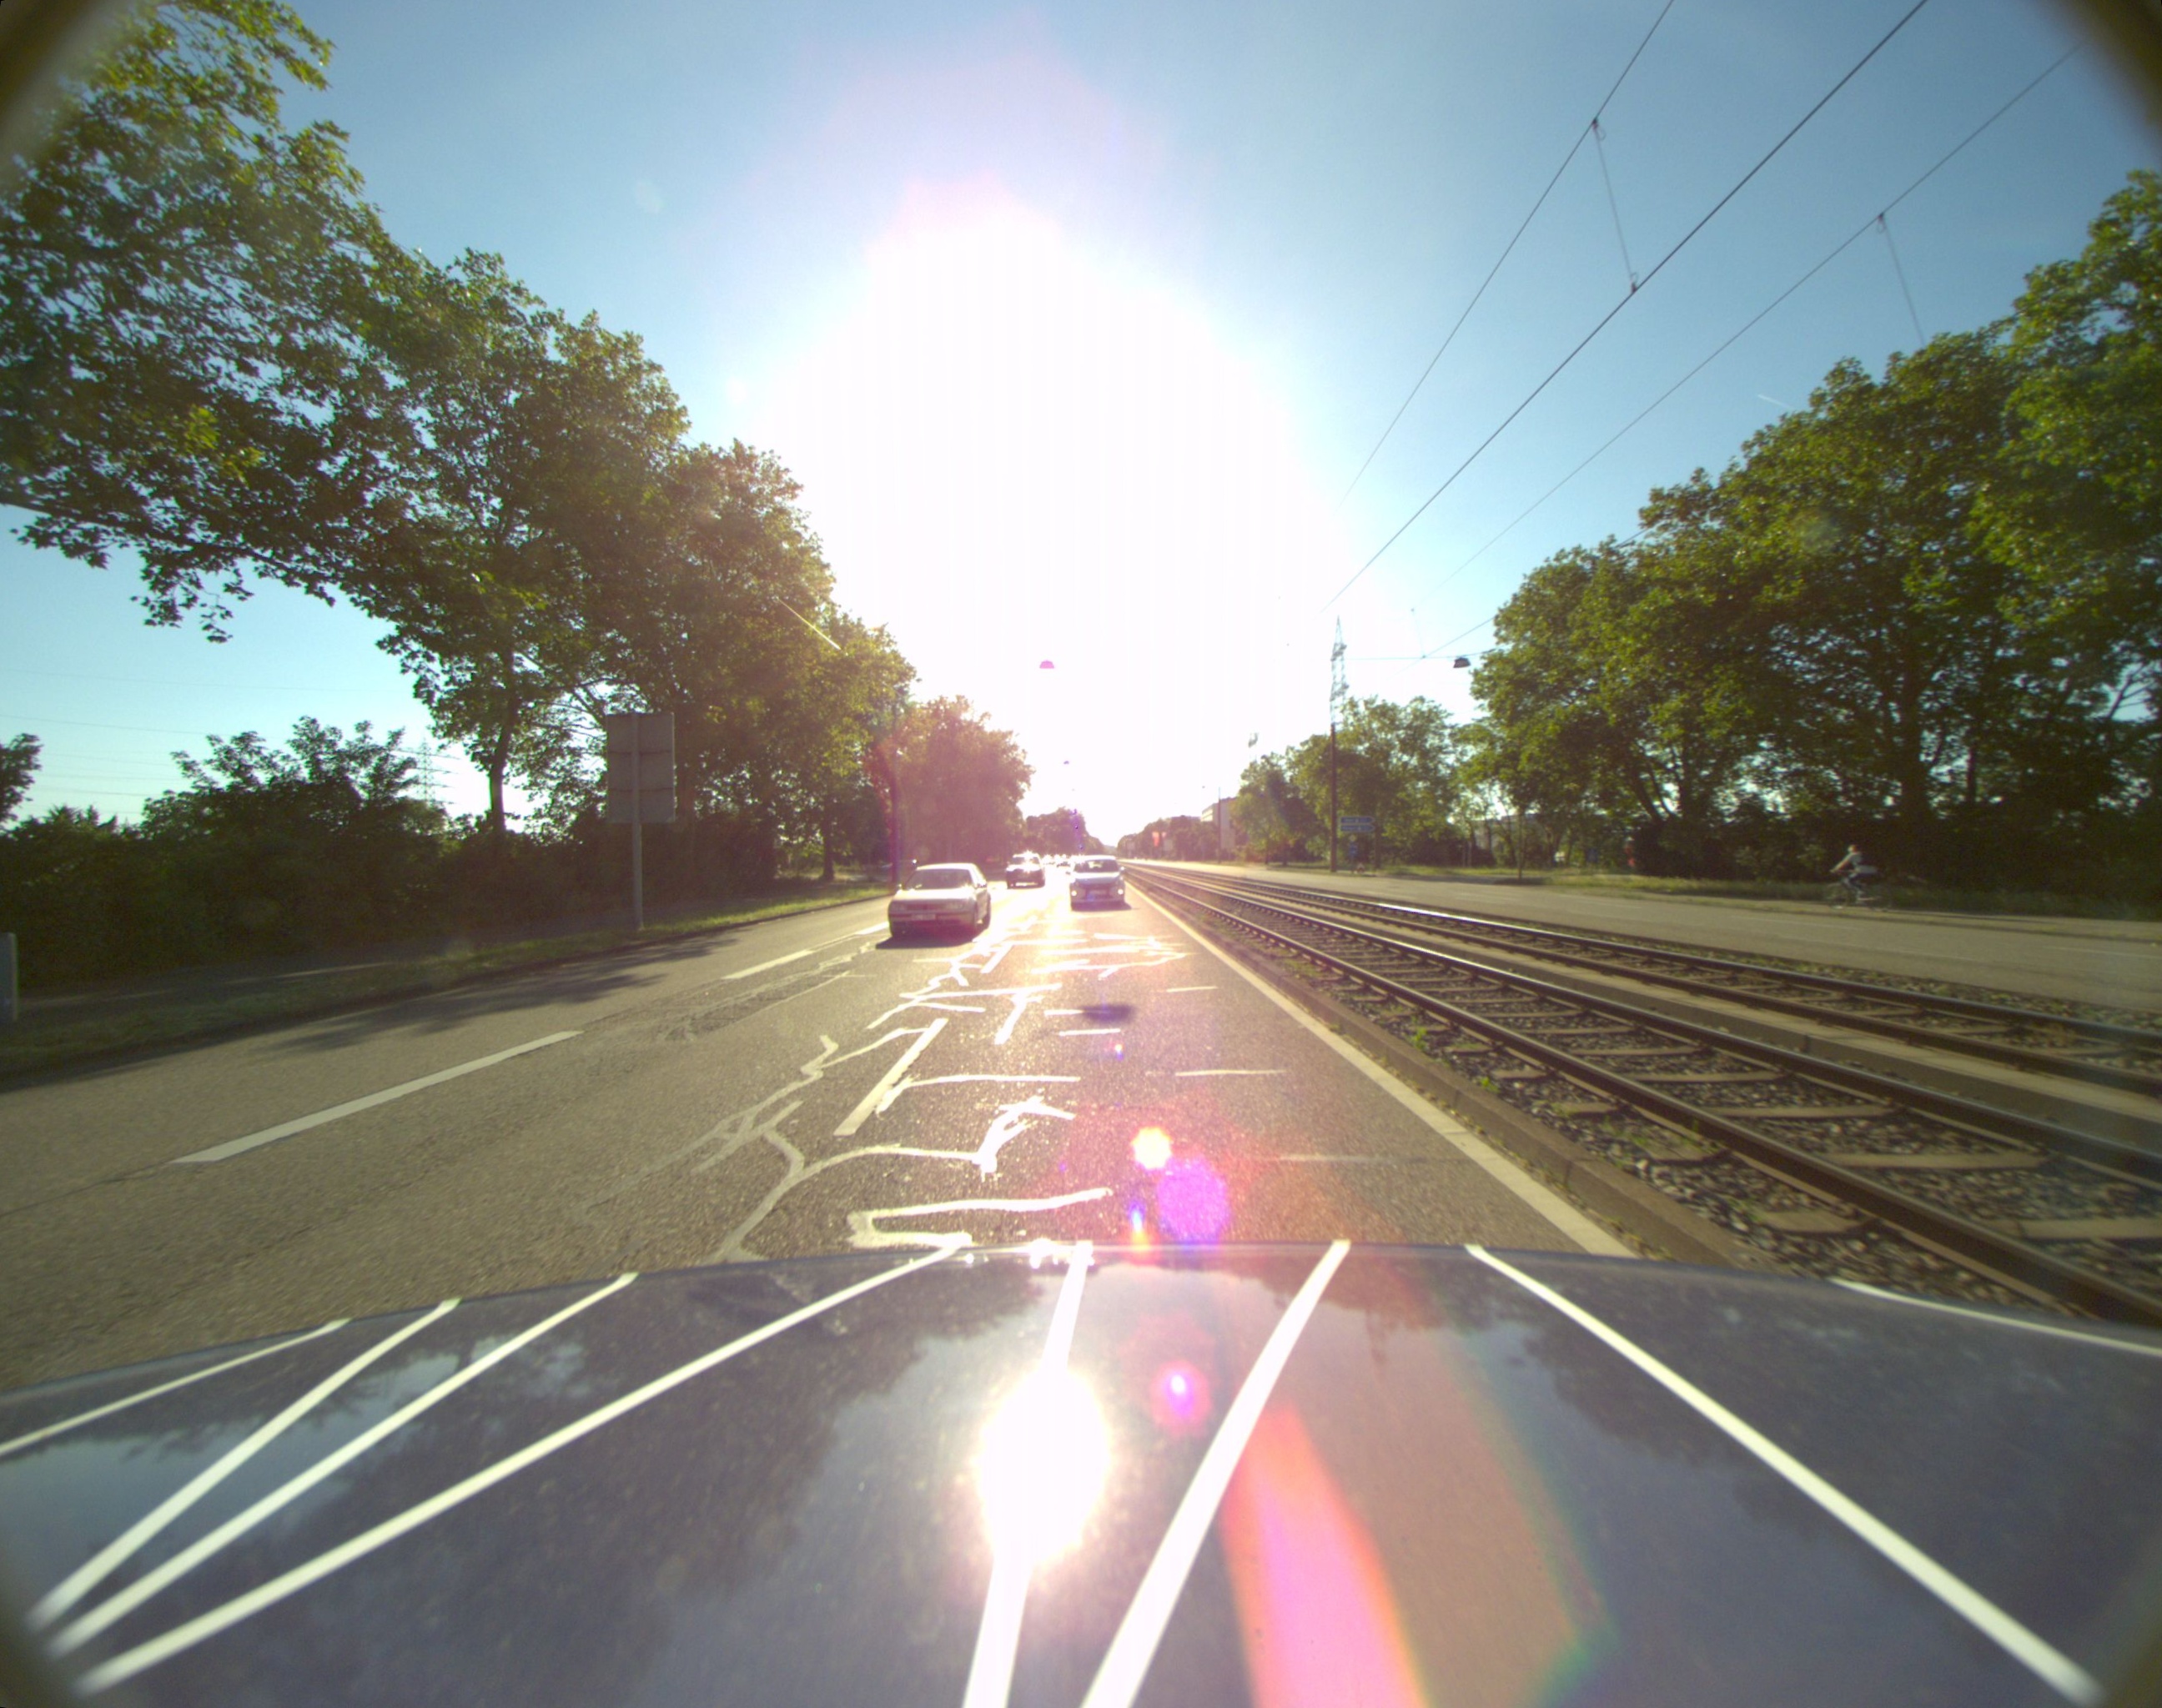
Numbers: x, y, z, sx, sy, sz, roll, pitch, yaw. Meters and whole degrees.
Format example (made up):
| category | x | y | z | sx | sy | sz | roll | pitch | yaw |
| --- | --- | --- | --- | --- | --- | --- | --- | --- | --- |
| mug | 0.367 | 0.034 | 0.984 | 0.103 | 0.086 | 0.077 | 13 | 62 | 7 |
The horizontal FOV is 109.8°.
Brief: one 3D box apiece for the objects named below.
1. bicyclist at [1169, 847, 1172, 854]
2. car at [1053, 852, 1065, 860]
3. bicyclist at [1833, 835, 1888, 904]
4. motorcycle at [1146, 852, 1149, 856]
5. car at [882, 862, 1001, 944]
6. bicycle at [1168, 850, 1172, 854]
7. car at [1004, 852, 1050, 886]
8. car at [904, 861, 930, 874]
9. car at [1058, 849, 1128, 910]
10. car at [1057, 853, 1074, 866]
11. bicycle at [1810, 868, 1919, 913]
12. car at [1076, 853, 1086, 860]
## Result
| category | x | y | z | sx | sy | sz | roll | pitch | yaw |
| --- | --- | --- | --- | --- | --- | --- | --- | --- | --- |
| bicyclist | 22.202 | -0.832 | 189.388 | 0.591 | 1.601 | 0.967 | -1 | 1 | 0 |
| car | -4.597 | 0.425 | 159.187 | 1.880 | 1.449 | 4.417 | -1 | 1 | 5 |
| bicyclist | 19.860 | 0.384 | 19.381 | 0.551 | 1.680 | 0.820 | -3 | 1 | 5 |
| motorcycle | 17.395 | 0.081 | 198.613 | 0.537 | 1.084 | 1.902 | -3 | 1 | 1 |
| car | -2.891 | 0.969 | 16.590 | 1.725 | 1.437 | 4.001 | -1 | 1 | 2 |
| bicycle | 22.212 | -0.519 | 189.446 | 0.591 | 1.016 | 2.185 | -1 | 1 | 0 |
| car | -2.754 | 0.748 | 39.734 | 1.881 | 1.591 | 4.416 | -1 | 1 | 2 |
| car | -20.194 | 1.646 | 93.590 | 1.881 | 1.435 | 4.660 | -1 | 1 | 3 |
| car | 0.429 | 0.706 | 23.812 | 1.881 | 1.591 | 4.416 | -4 | 1 | 2 |
| car | -1.932 | 0.661 | 95.870 | 1.881 | 1.449 | 4.416 | -1 | 1 | 2 |
| bicycle | 19.916 | 0.909 | 19.388 | 0.551 | 0.980 | 2.239 | -3 | 1 | 3 |
| car | -0.005 | 0.463 | 159.752 | 1.880 | 1.449 | 4.417 | -1 | 1 | 5 |
